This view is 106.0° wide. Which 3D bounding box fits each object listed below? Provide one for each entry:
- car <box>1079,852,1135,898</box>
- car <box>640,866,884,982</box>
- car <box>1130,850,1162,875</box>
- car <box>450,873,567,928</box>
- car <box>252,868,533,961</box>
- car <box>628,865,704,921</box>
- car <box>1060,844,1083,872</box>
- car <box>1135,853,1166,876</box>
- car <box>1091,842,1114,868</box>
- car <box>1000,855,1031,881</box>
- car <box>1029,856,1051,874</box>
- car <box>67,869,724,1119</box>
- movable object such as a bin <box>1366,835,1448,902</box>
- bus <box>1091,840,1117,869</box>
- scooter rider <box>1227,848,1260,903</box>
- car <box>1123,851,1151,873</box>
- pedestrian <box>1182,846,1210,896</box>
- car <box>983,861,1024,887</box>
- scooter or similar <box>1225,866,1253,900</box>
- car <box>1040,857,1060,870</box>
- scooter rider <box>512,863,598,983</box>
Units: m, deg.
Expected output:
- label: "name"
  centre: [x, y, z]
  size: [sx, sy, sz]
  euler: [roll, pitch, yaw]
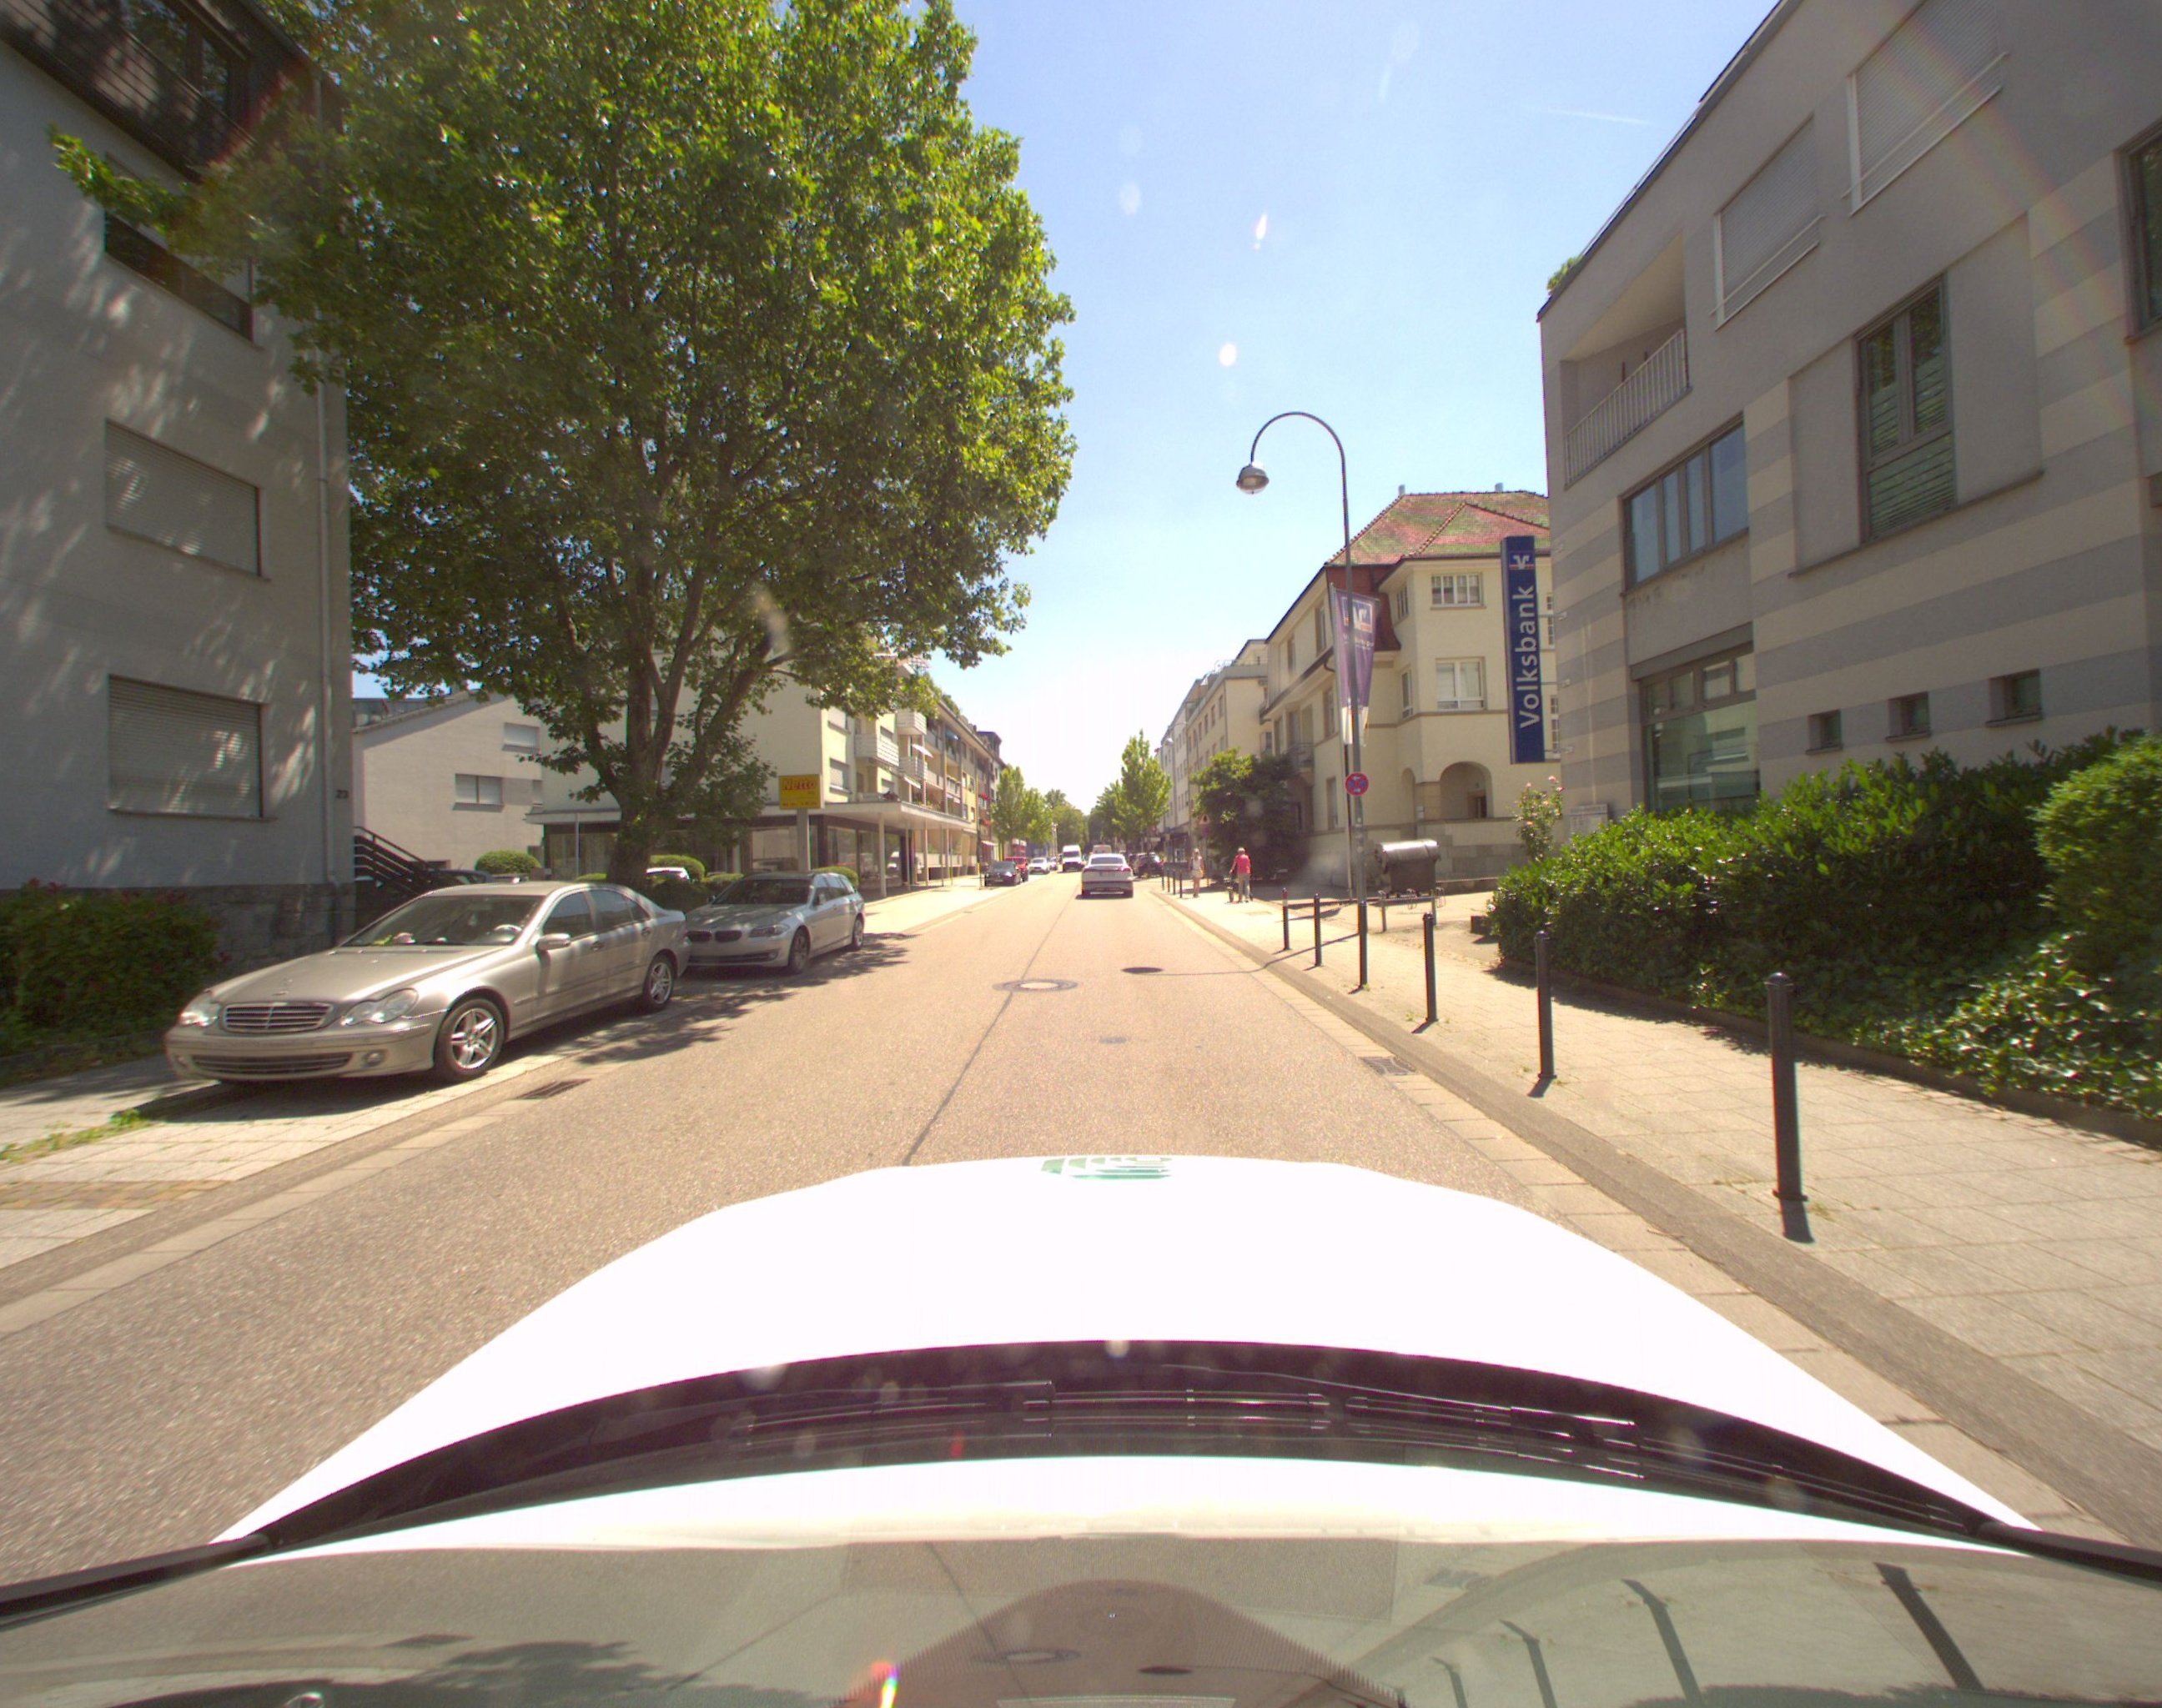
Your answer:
- label: "car"
  centre: [0.946, 0.750, 31.184]
  size: [1.987, 1.633, 3.999]
  euler: [-1, 0, 0]
- label: "car"
  centre: [-4.898, 0.972, 13.492]
  size: [1.974, 1.452, 5.150]
  euler: [-1, 0, 0]
- label: "car"
  centre: [4.890, 0.608, 61.821]
  size: [1.891, 1.674, 4.688]
  euler: [-4, 0, -1]
- label: "car"
  centre: [-17.866, 1.387, 25.650]
  size: [1.749, 1.462, 3.908]
  euler: [-3, 0, -16]
- label: "car"
  centre: [-13.966, 1.155, 16.887]
  size: [1.793, 1.545, 4.121]
  euler: [-3, 0, 14]
- label: "car"
  centre: [-12.896, 1.157, 25.208]
  size: [1.903, 1.486, 3.958]
  euler: [-2, 0, -29]
- label: "car"
  centre: [-0.951, 0.370, 83.986]
  size: [2.029, 2.630, 7.108]
  euler: [-4, 0, 1]
- label: "car"
  centre: [4.723, 0.686, 55.679]
  size: [1.888, 1.438, 4.547]
  euler: [-2, 0, 3]
- label: "car"
  centre: [2.098, 0.083, 80.291]
  size: [2.148, 2.442, 5.284]
  euler: [0, 0, 1]
- label: "car"
  centre: [-4.387, 0.929, 55.045]
  size: [1.746, 1.702, 4.101]
  euler: [0, 0, 1]
- label: "car"
  centre: [-3.914, 1.042, 78.357]
  size: [1.745, 1.618, 4.403]
  euler: [0, 0, 2]
- label: "car"
  centre: [-5.411, 0.932, 7.600]
  size: [1.974, 1.452, 4.867]
  euler: [-1, 0, 0]
- label: "movable object such as a bin"
  centre: [7.943, 0.354, 19.929]
  size: [1.362, 1.458, 1.381]
  euler: [-5, -1, 2]
- label: "bus"
  centre: [2.699, 0.042, 94.321]
  size: [2.649, 3.221, 7.308]
  euler: [0, 0, 4]
- label: "scooter rider"
  centre: [4.716, 0.612, 23.717]
  size: [0.714, 1.548, 0.770]
  euler: [-3, 0, -1]
- label: "car"
  centre: [4.571, 0.651, 67.169]
  size: [1.851, 1.674, 4.534]
  euler: [-4, 0, -1]
- label: "pedestrian"
  centre: [3.942, 0.573, 27.904]
  size: [0.698, 1.626, 0.783]
  euler: [-5, -1, 0]
- label: "car"
  centre: [-4.553, 1.135, 48.569]
  size: [1.890, 1.417, 5.048]
  euler: [0, 0, 1]
- label: "scooter or similar"
  centre: [4.733, 0.855, 24.387]
  size: [0.661, 0.963, 0.754]
  euler: [-3, 0, 1]
- label: "car"
  centre: [-3.382, 1.005, 89.221]
  size: [1.745, 1.453, 4.404]
  euler: [0, 0, 3]
- label: "scooter rider"
  centre: [-7.245, 0.923, 11.254]
  size: [0.586, 1.575, 0.878]
  euler: [0, 0, 2]
